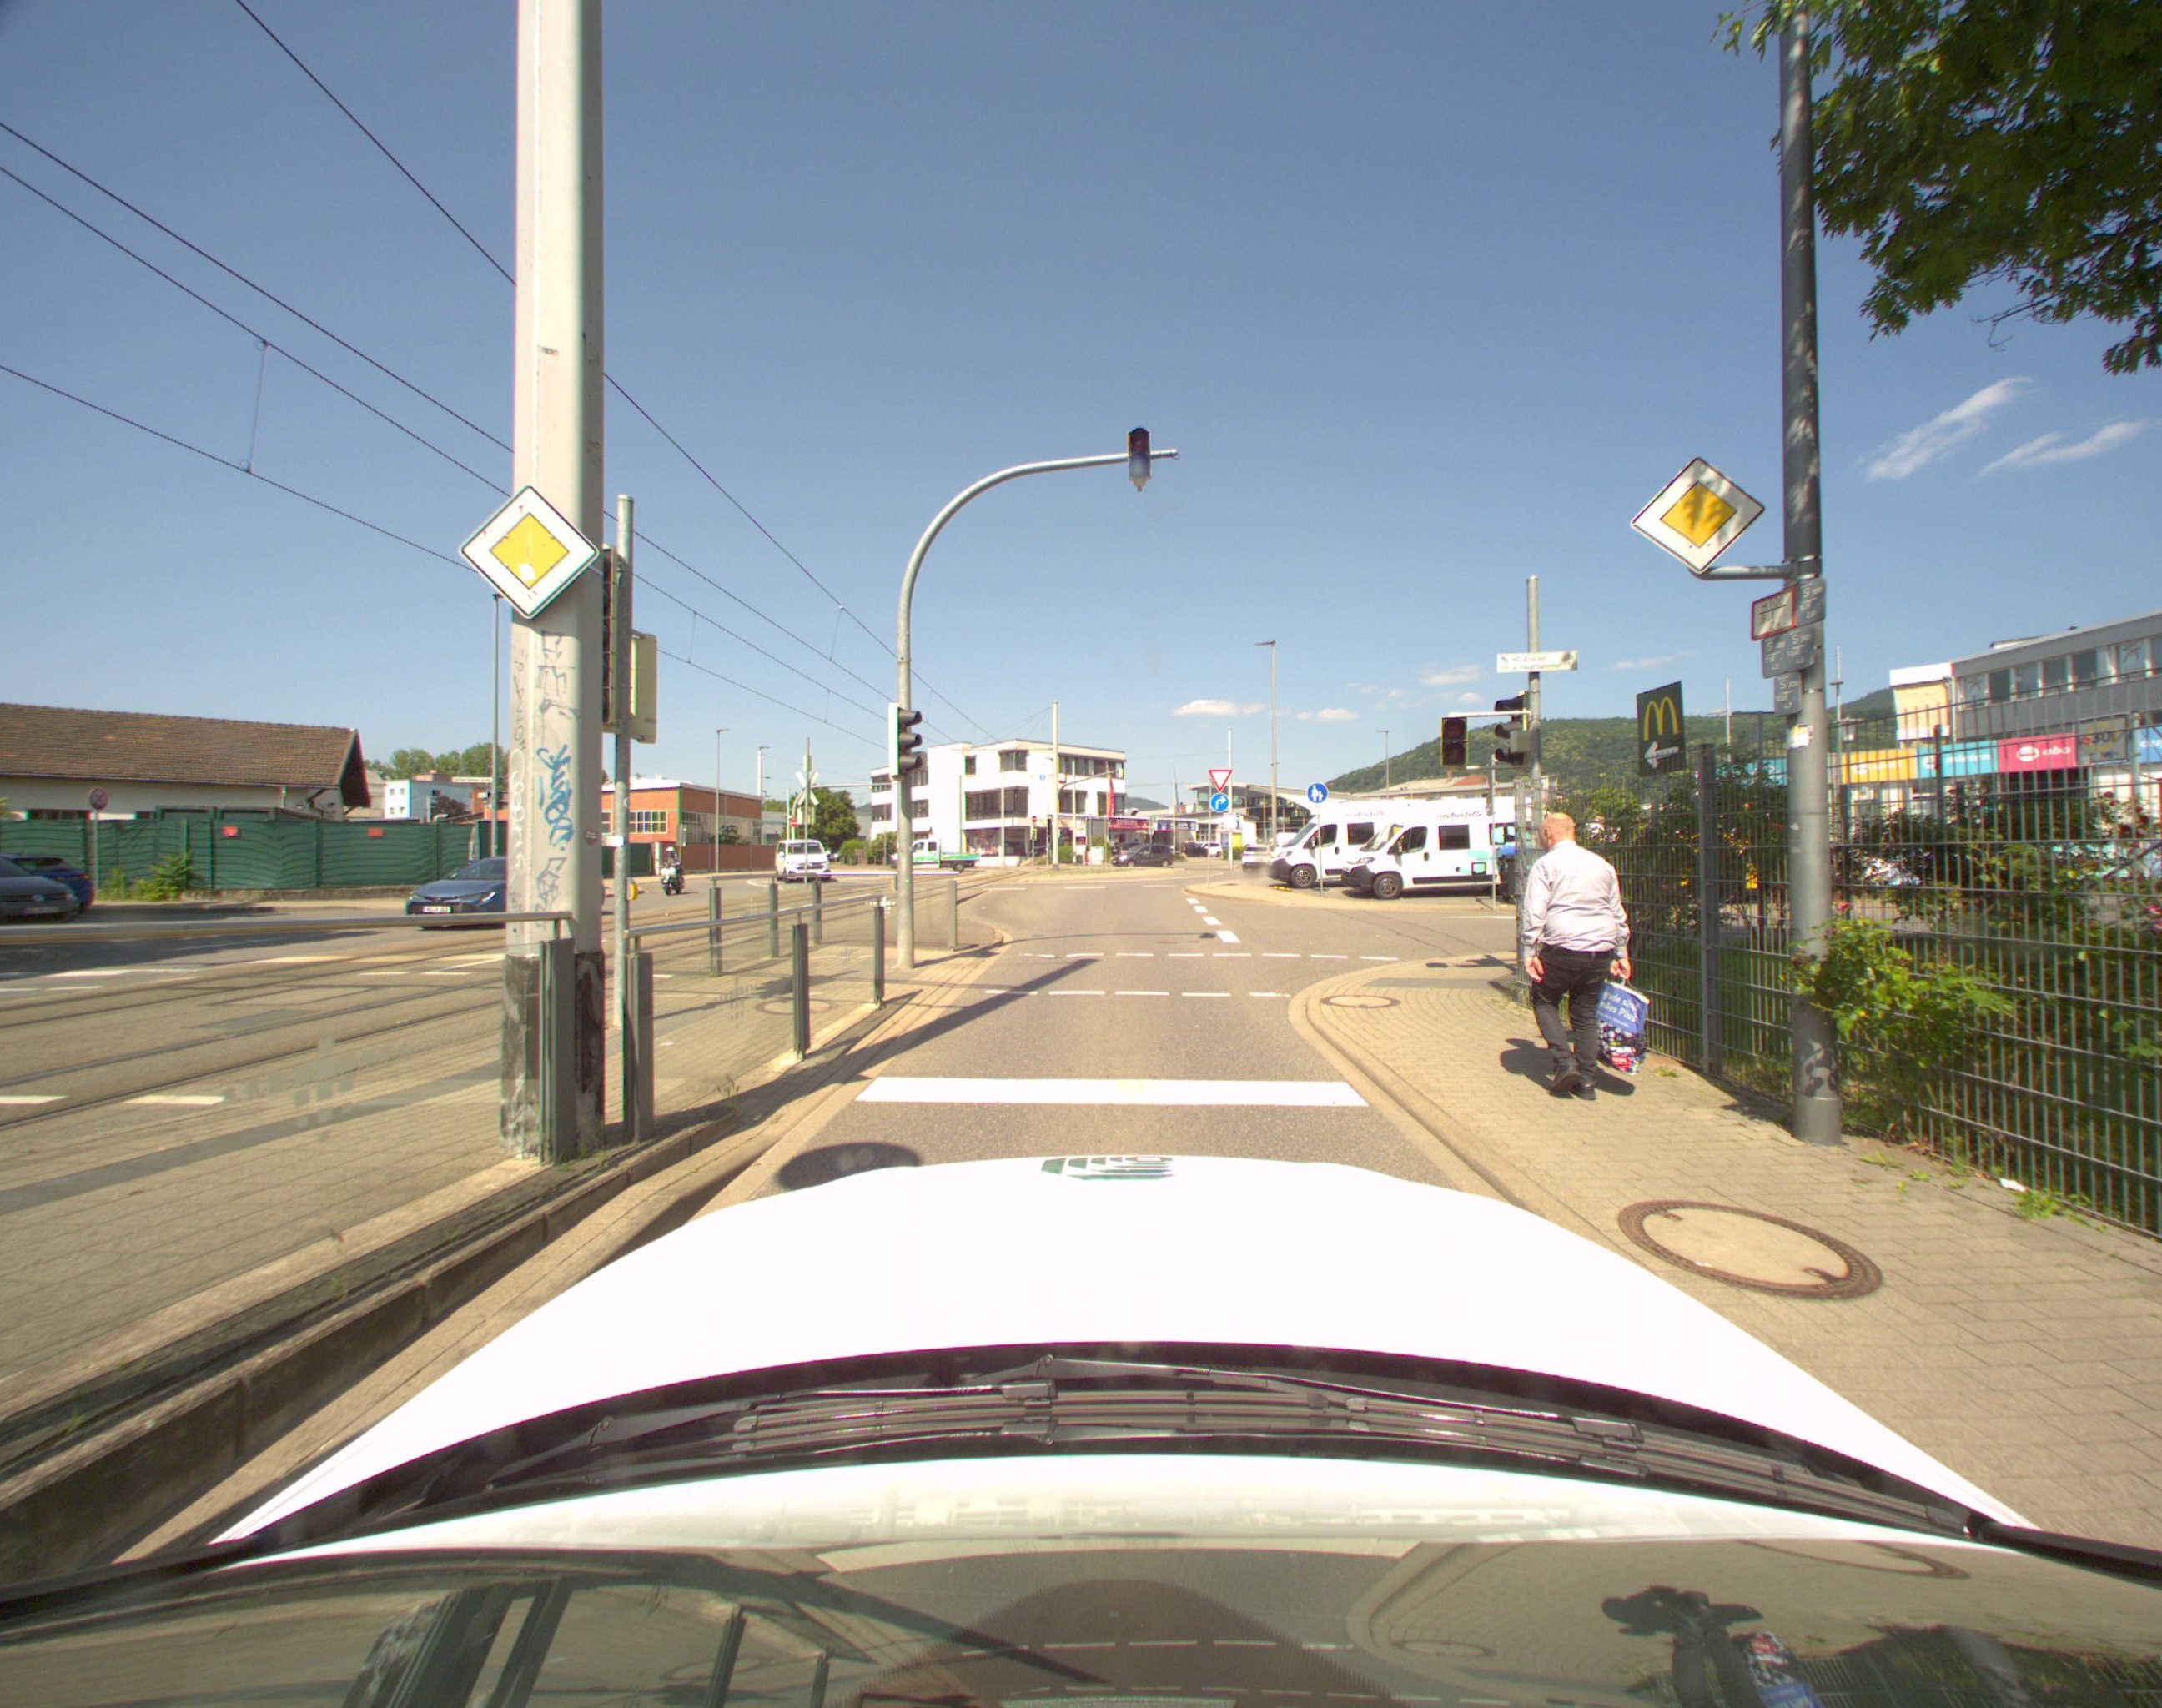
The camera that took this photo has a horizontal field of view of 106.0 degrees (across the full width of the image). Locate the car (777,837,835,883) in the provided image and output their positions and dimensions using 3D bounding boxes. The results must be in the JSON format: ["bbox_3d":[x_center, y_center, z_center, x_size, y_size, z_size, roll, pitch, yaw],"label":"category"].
[{"bbox_3d":[-13.018,0.254,38.353,2.172,2.013,4.980,-1,0,-23],"label":"car"}]

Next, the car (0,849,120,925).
[{"bbox_3d":[-23.899,0.693,17.639,4.131,1.537,1.808,-1,0,3],"label":"car"}]

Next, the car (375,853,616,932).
[{"bbox_3d":[-12.353,0.725,17.671,1.901,1.442,4.594,-1,0,0],"label":"car"}]

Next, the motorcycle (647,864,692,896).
[{"bbox_3d":[-14.041,0.864,27.840,0.823,1.011,1.957,-1,0,-11],"label":"motorcycle"}]

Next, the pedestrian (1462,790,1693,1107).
[{"bbox_3d":[2.903,0.509,4.865,0.810,1.699,0.887,-2,0,0],"label":"pedestrian"}]

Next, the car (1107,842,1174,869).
[{"bbox_3d":[4.283,0.102,58.633,4.411,1.818,1.976,-1,0,-22],"label":"car"}]

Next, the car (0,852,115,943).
[{"bbox_3d":[-20.950,0.789,14.943,4.163,1.583,1.934,-1,0,1],"label":"car"}]

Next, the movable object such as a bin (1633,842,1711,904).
[{"bbox_3d":[14.611,0.449,20.170,1.228,1.475,1.023,-1,2,10],"label":"movable object such as a bin"}]

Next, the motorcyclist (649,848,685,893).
[{"bbox_3d":[-14.007,0.535,27.592,0.836,1.475,0.959,-1,0,-12],"label":"motorcyclist"}]

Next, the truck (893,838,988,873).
[{"bbox_3d":[-9.787,0.066,56.830,6.374,2.337,2.200,-1,0,-13],"label":"truck"}]

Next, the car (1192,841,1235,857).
[{"bbox_3d":[13.991,-0.552,85.880,4.957,1.589,1.863,-1,-2,-45],"label":"car"}]

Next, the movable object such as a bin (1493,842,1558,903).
[{"bbox_3d":[11.293,0.457,20.750,1.244,1.456,1.083,0,2,14],"label":"movable object such as a bin"}]

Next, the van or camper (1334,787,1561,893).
[{"bbox_3d":[10.121,-0.398,22.903,5.478,2.813,2.052,0,2,6],"label":"van or camper"}]

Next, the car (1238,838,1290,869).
[{"bbox_3d":[11.010,-0.058,48.875,1.975,1.733,4.591,-1,0,26],"label":"car"}]

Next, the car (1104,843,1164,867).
[{"bbox_3d":[4.561,0.033,69.733,5.308,1.965,1.943,-1,0,-41],"label":"car"}]

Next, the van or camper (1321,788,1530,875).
[{"bbox_3d":[13.221,-0.830,31.652,7.034,2.946,2.336,-2,0,2],"label":"van or camper"}]

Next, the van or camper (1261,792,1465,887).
[{"bbox_3d":[8.815,-0.445,25.901,5.783,2.773,2.094,-1,1,4],"label":"van or camper"}]

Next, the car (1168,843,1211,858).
[{"bbox_3d":[10.639,-0.354,79.855,2.008,1.427,4.342,0,1,45],"label":"car"}]

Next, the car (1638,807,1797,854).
[{"bbox_3d":[29.043,-1.048,37.335,5.422,2.013,2.142,0,0,7],"label":"car"}]
